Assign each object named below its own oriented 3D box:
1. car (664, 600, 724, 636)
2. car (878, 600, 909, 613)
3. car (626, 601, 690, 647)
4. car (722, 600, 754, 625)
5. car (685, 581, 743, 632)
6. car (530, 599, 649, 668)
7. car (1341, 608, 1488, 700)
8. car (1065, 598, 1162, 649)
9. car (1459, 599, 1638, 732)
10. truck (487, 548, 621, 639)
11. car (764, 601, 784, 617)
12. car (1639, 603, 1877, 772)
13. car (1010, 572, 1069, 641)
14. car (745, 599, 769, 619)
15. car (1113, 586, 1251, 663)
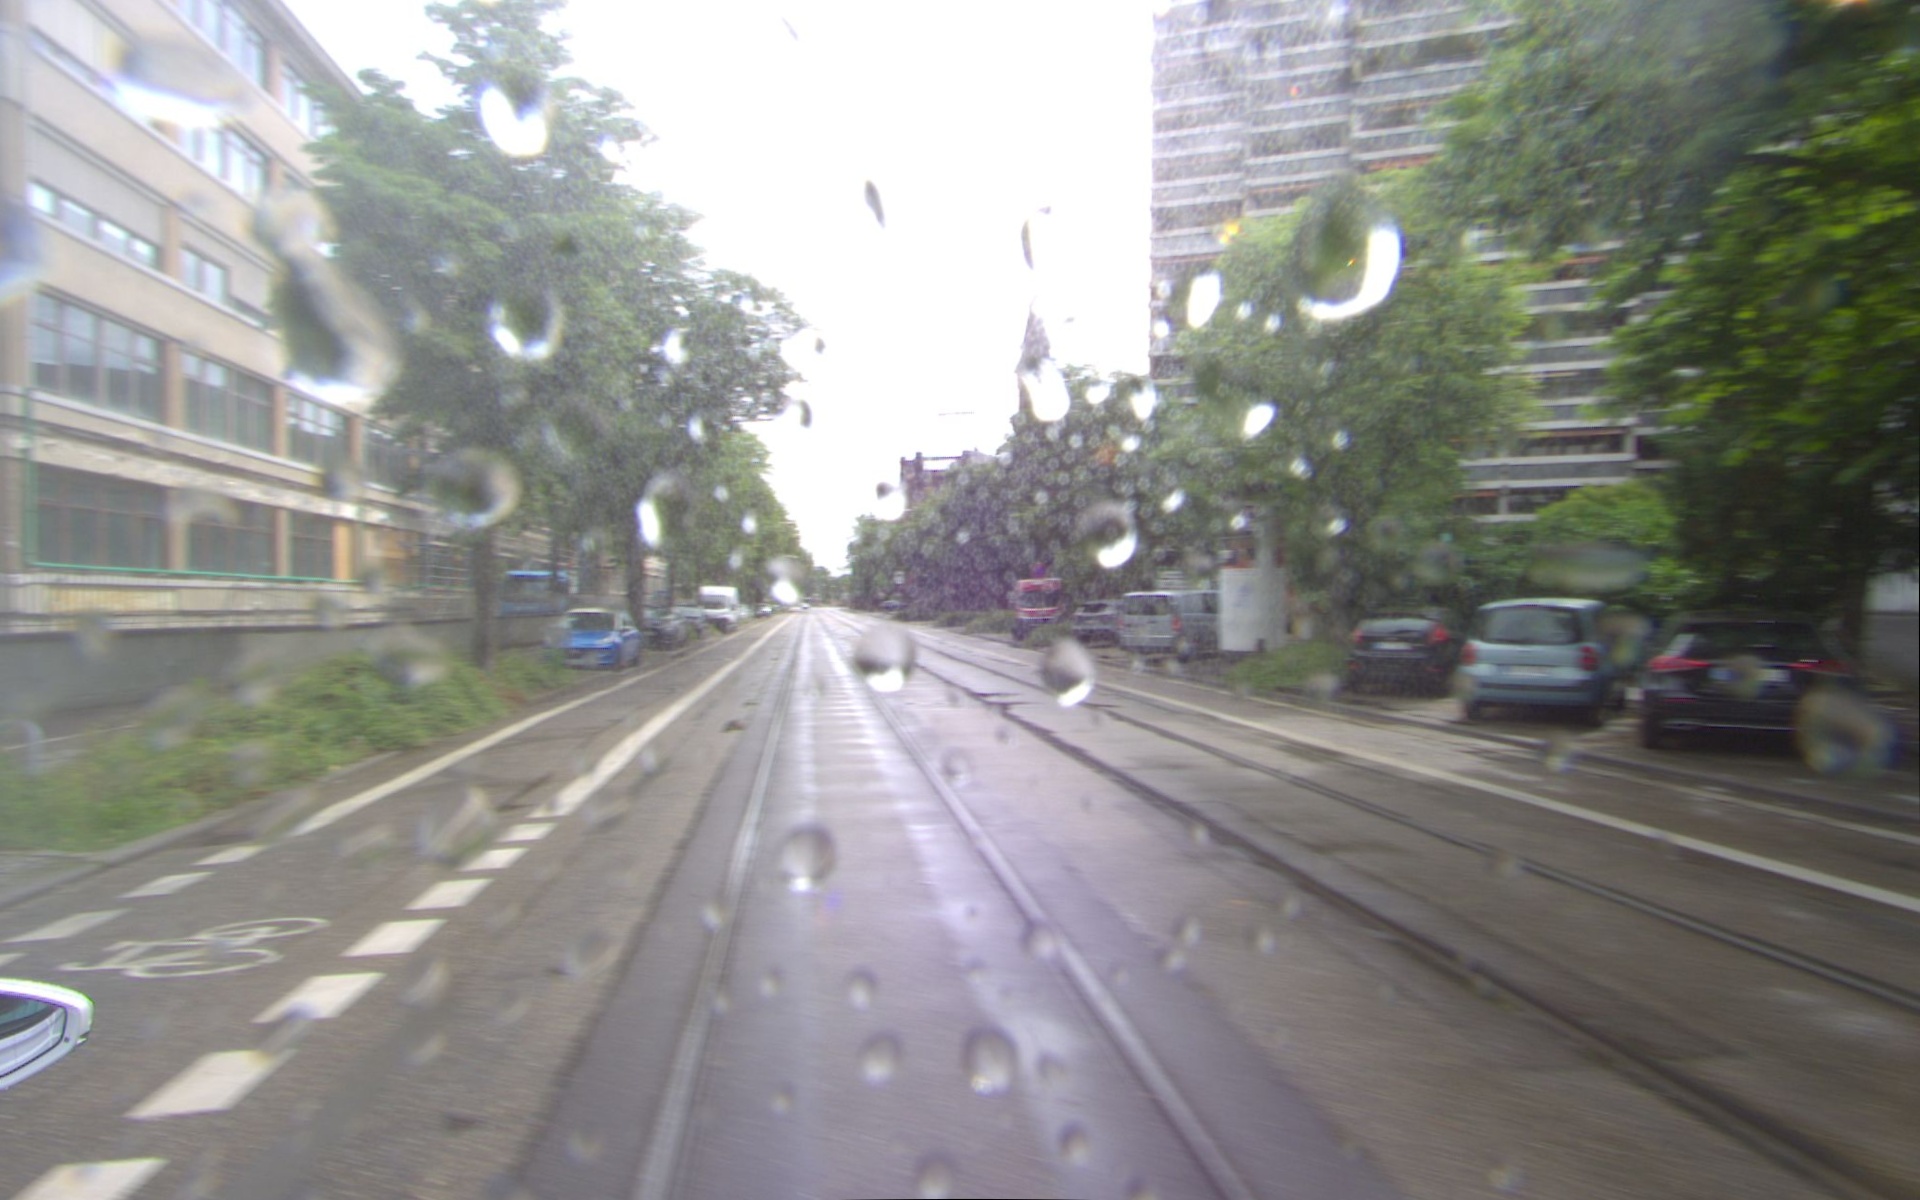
[{"bbox_3d":[-11.930,0.810,45.151,1.783,1.490,4.071,2,-1,-4],"label":"car"},{"bbox_3d":[-9.173,0.904,139.126,4.214,1.673,2.000,2,-1,-3],"label":"car"},{"bbox_3d":[-10.506,0.829,35.096,1.856,1.489,3.995,2,-1,-13],"label":"car"},{"bbox_3d":[-16.604,0.950,74.969,1.828,1.764,4.000,2,-1,-6],"label":"car"},{"bbox_3d":[-13.122,0.397,53.809,2.548,2.506,6.149,2,-1,-10],"label":"car"},{"bbox_3d":[-8.893,0.798,24.379,1.854,1.489,3.999,2,-1,-8],"label":"car"},{"bbox_3d":[8.069,0.865,17.626,1.745,1.415,3.628,1,0,35],"label":"car"},{"bbox_3d":[5.454,0.766,35.170,1.761,1.586,4.020,1,2,35],"label":"car"},{"bbox_3d":[8.166,0.786,13.763,1.687,1.571,3.624,1,0,37],"label":"car"},{"bbox_3d":[-18.262,-0.164,45.928,3.181,3.572,9.908,2,-1,-7],"label":"truck"},{"bbox_3d":[-20.310,1.033,109.396,1.828,1.659,4.000,2,-1,-6],"label":"car"},{"bbox_3d":[8.467,0.788,10.818,1.719,1.489,3.626,1,0,36],"label":"car"},{"bbox_3d":[3.403,0.261,42.265,2.257,2.669,5.481,1,0,5],"label":"car"},{"bbox_3d":[-19.665,0.891,96.999,1.828,1.764,4.000,2,-1,-6],"label":"car"},{"bbox_3d":[6.221,0.622,27.652,1.913,1.922,4.612,1,1,38],"label":"car"}]
